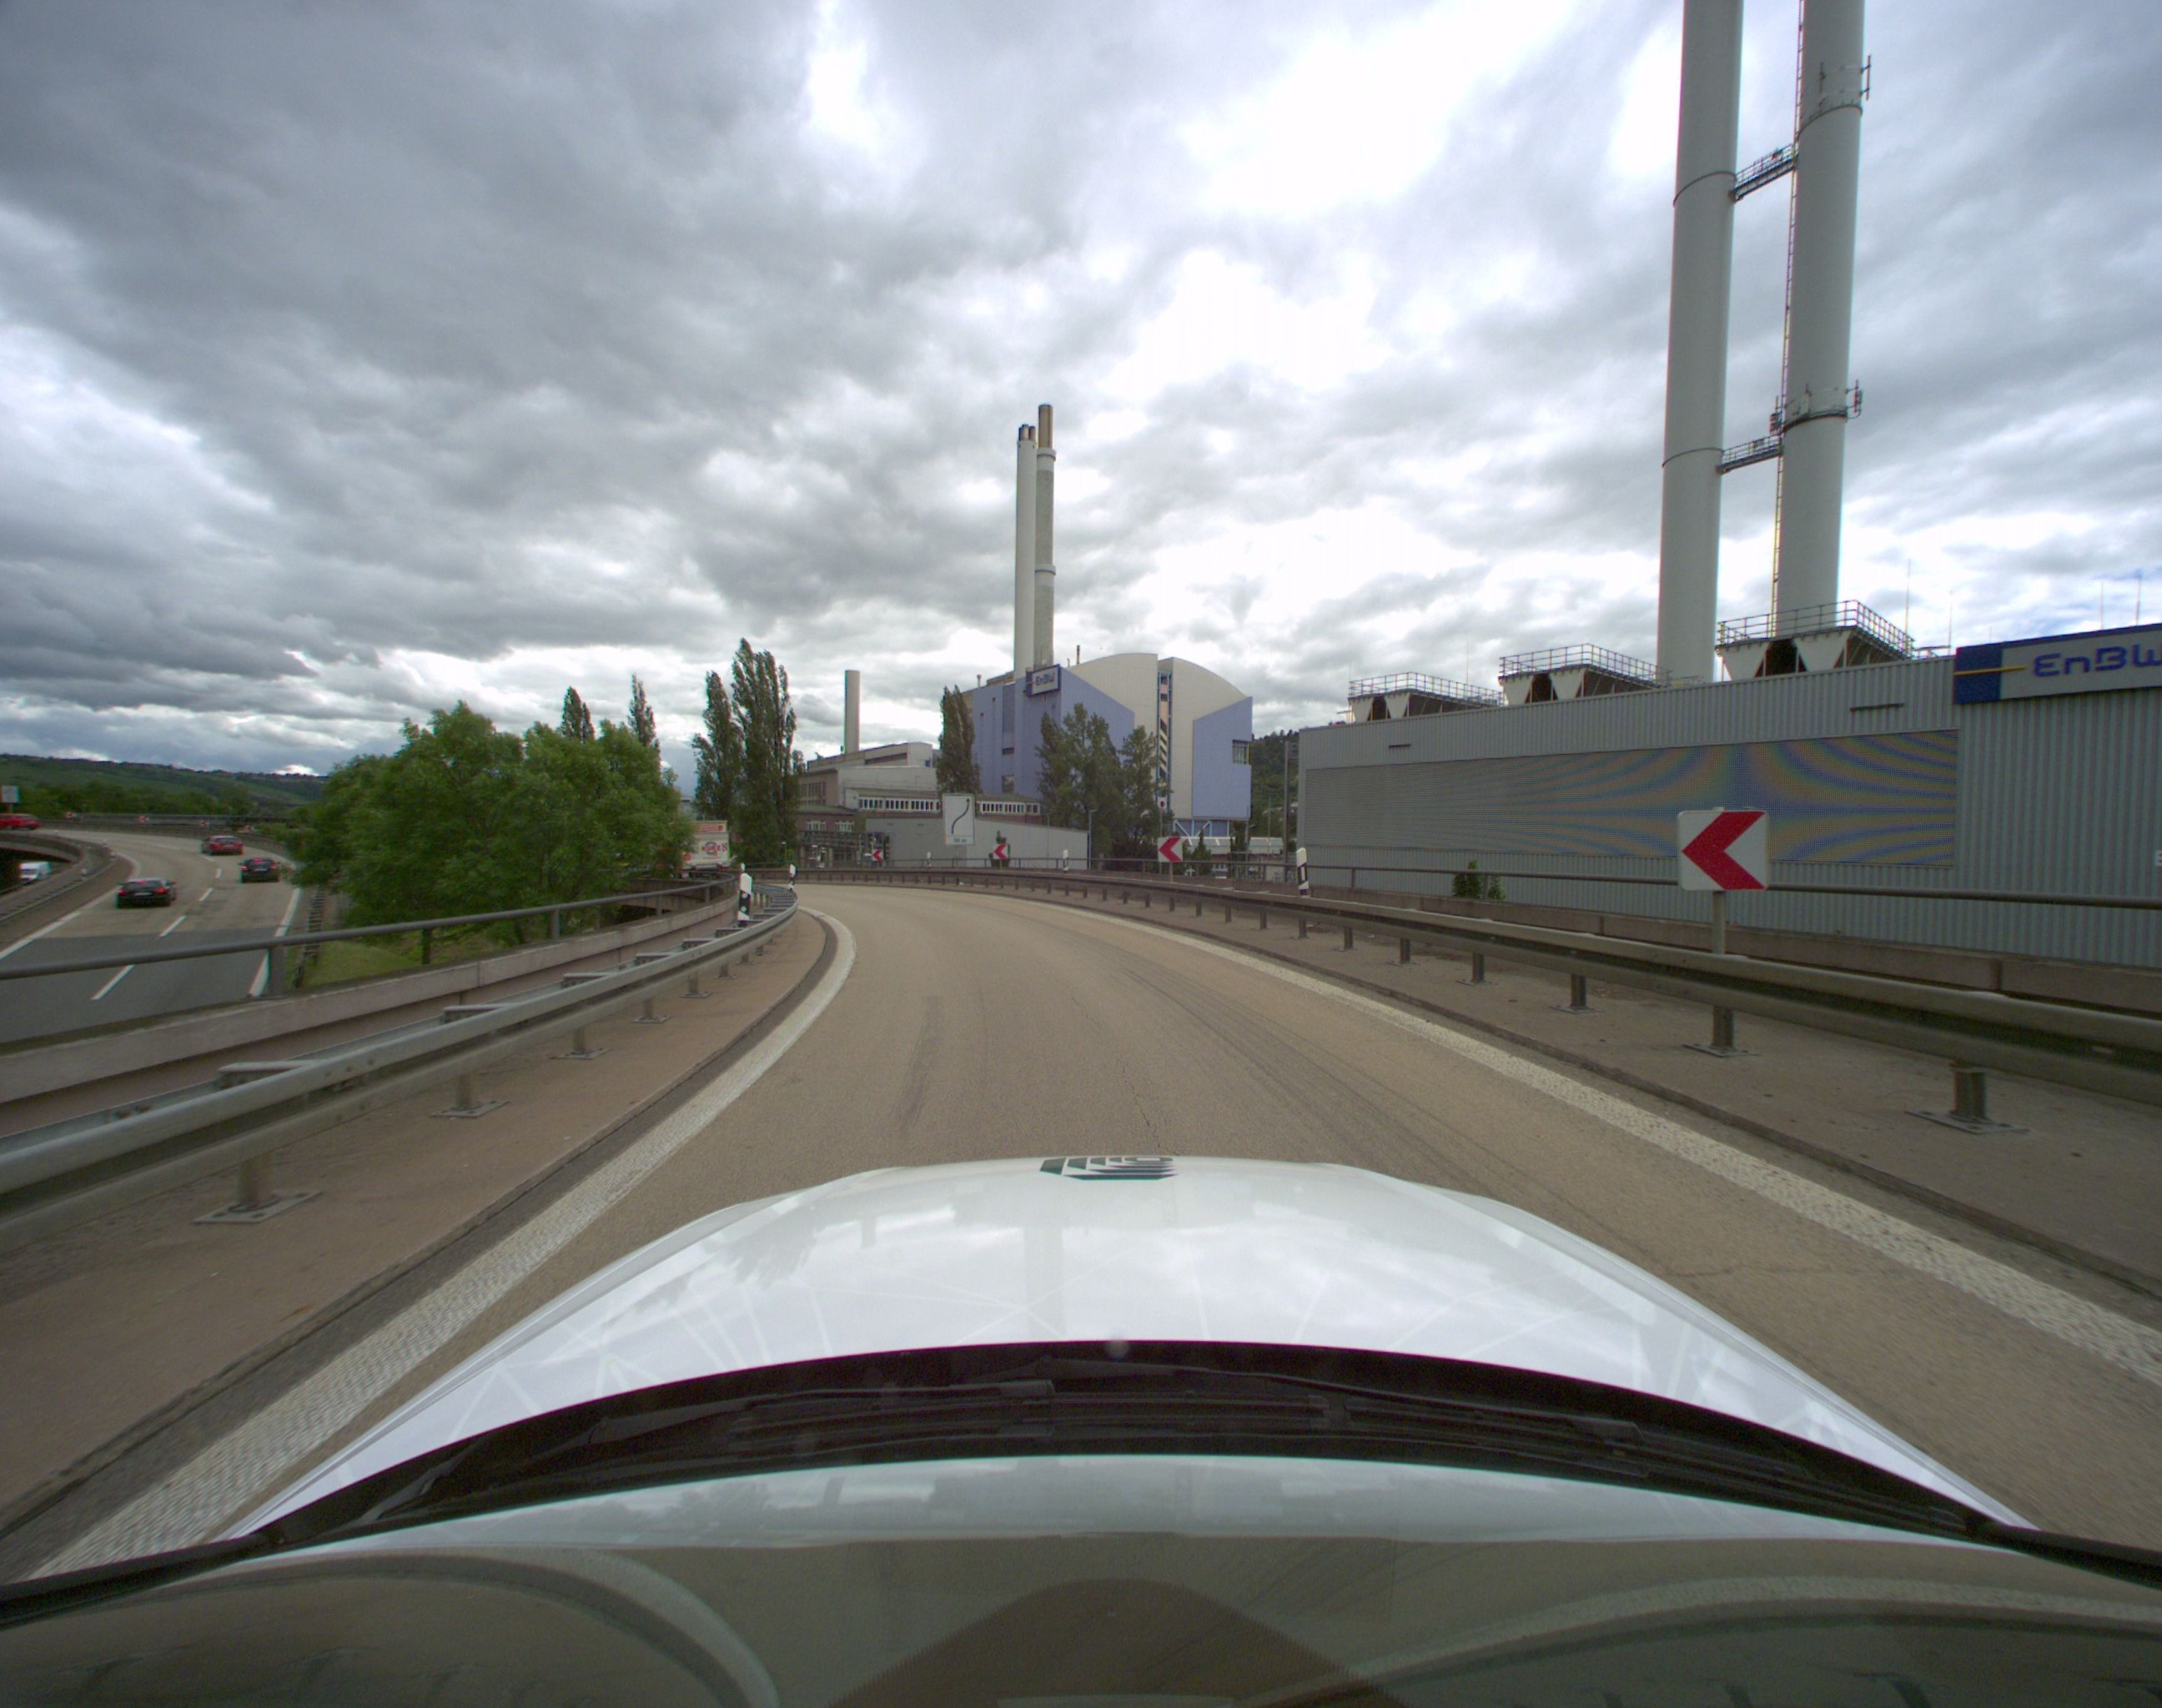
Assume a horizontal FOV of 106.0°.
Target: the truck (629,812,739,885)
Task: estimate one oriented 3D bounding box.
[{"bbox_3d":[-22.113,-0.338,45.117,7.829,3.673,3.079,1,1,45],"label":"truck"}]
